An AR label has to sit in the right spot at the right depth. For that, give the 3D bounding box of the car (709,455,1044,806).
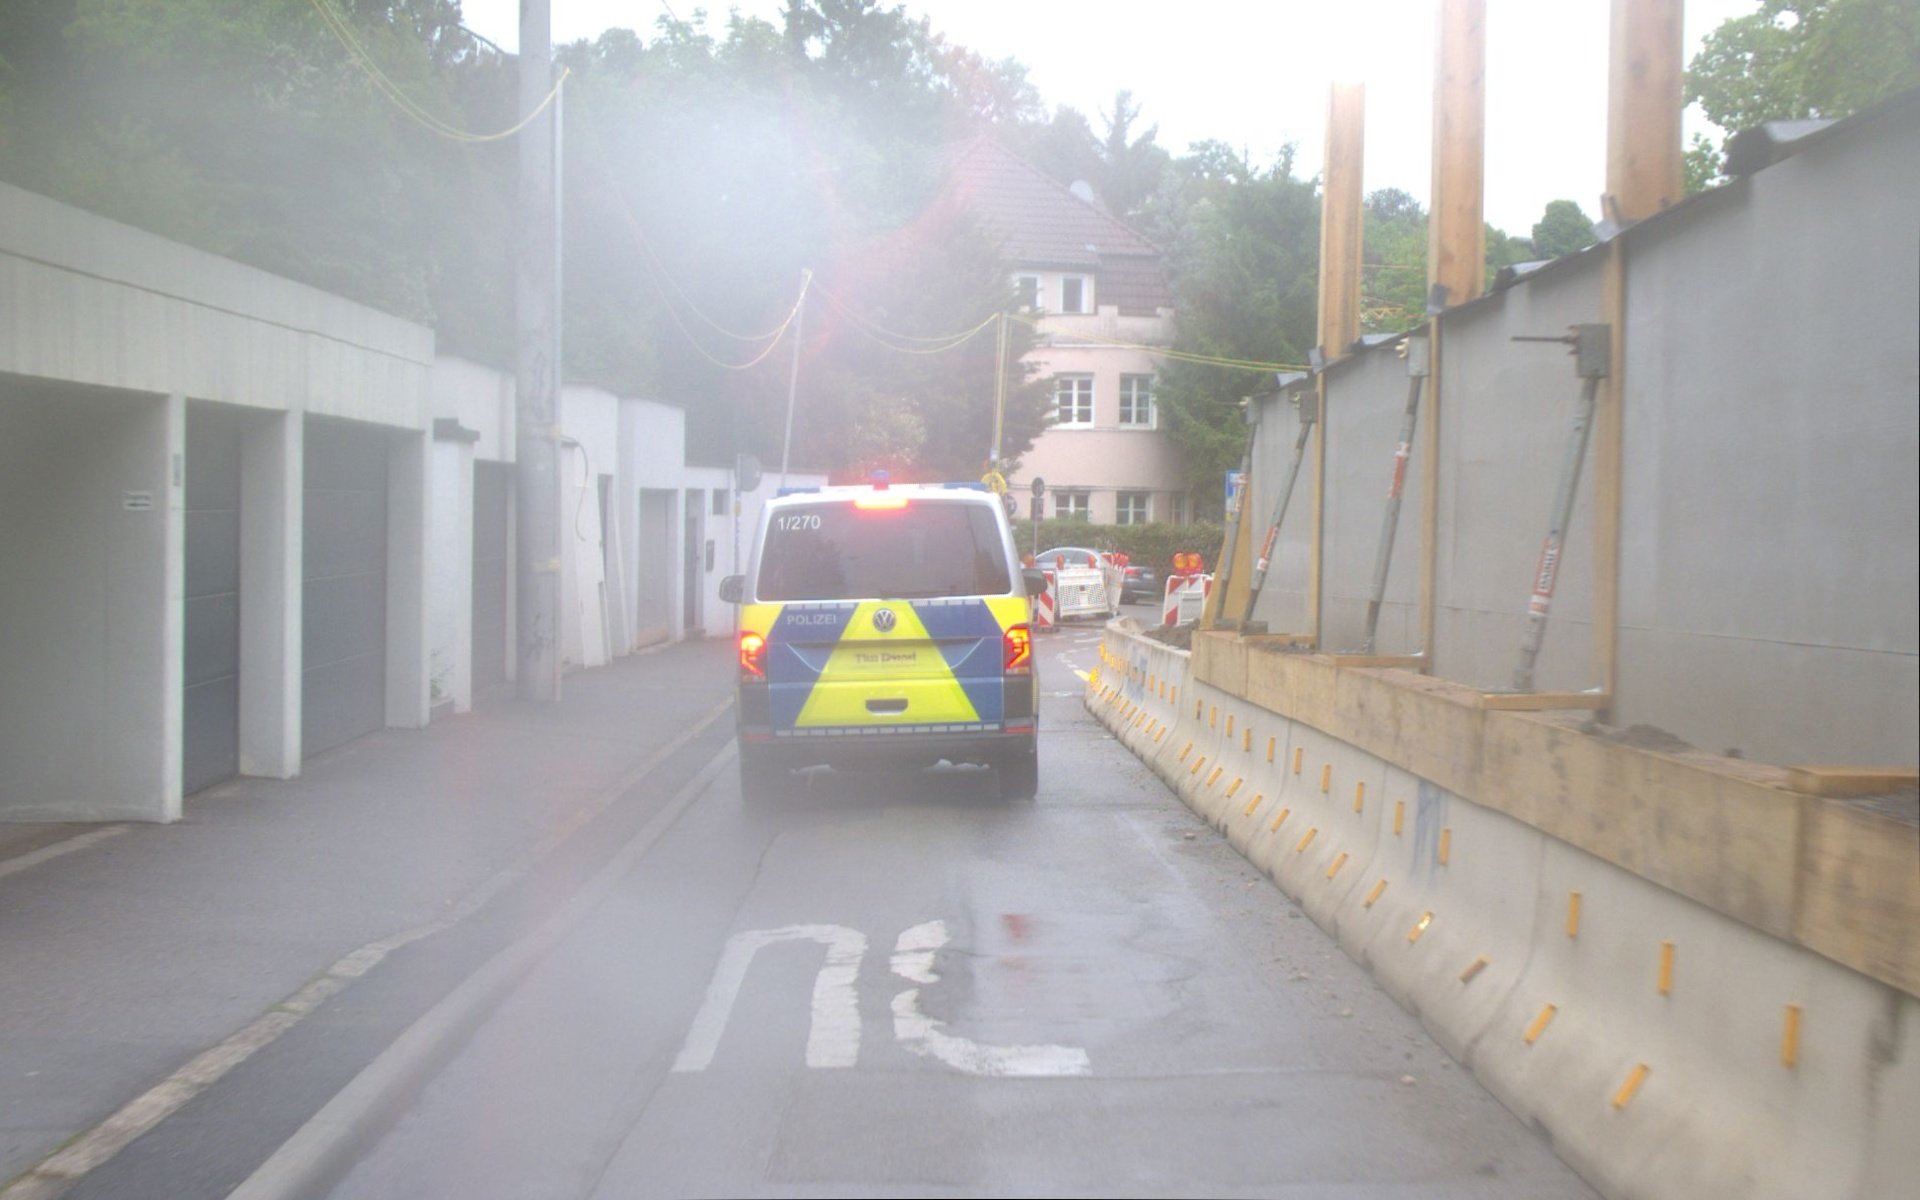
[{"bbox_3d":[-0.529,0.177,22.546,1.908,2.003,4.440,2,0,-1],"label":"car"}]

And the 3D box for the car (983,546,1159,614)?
[{"bbox_3d":[2.755,-0.501,85.511,3.994,1.512,1.725,2,0,30],"label":"car"}]
